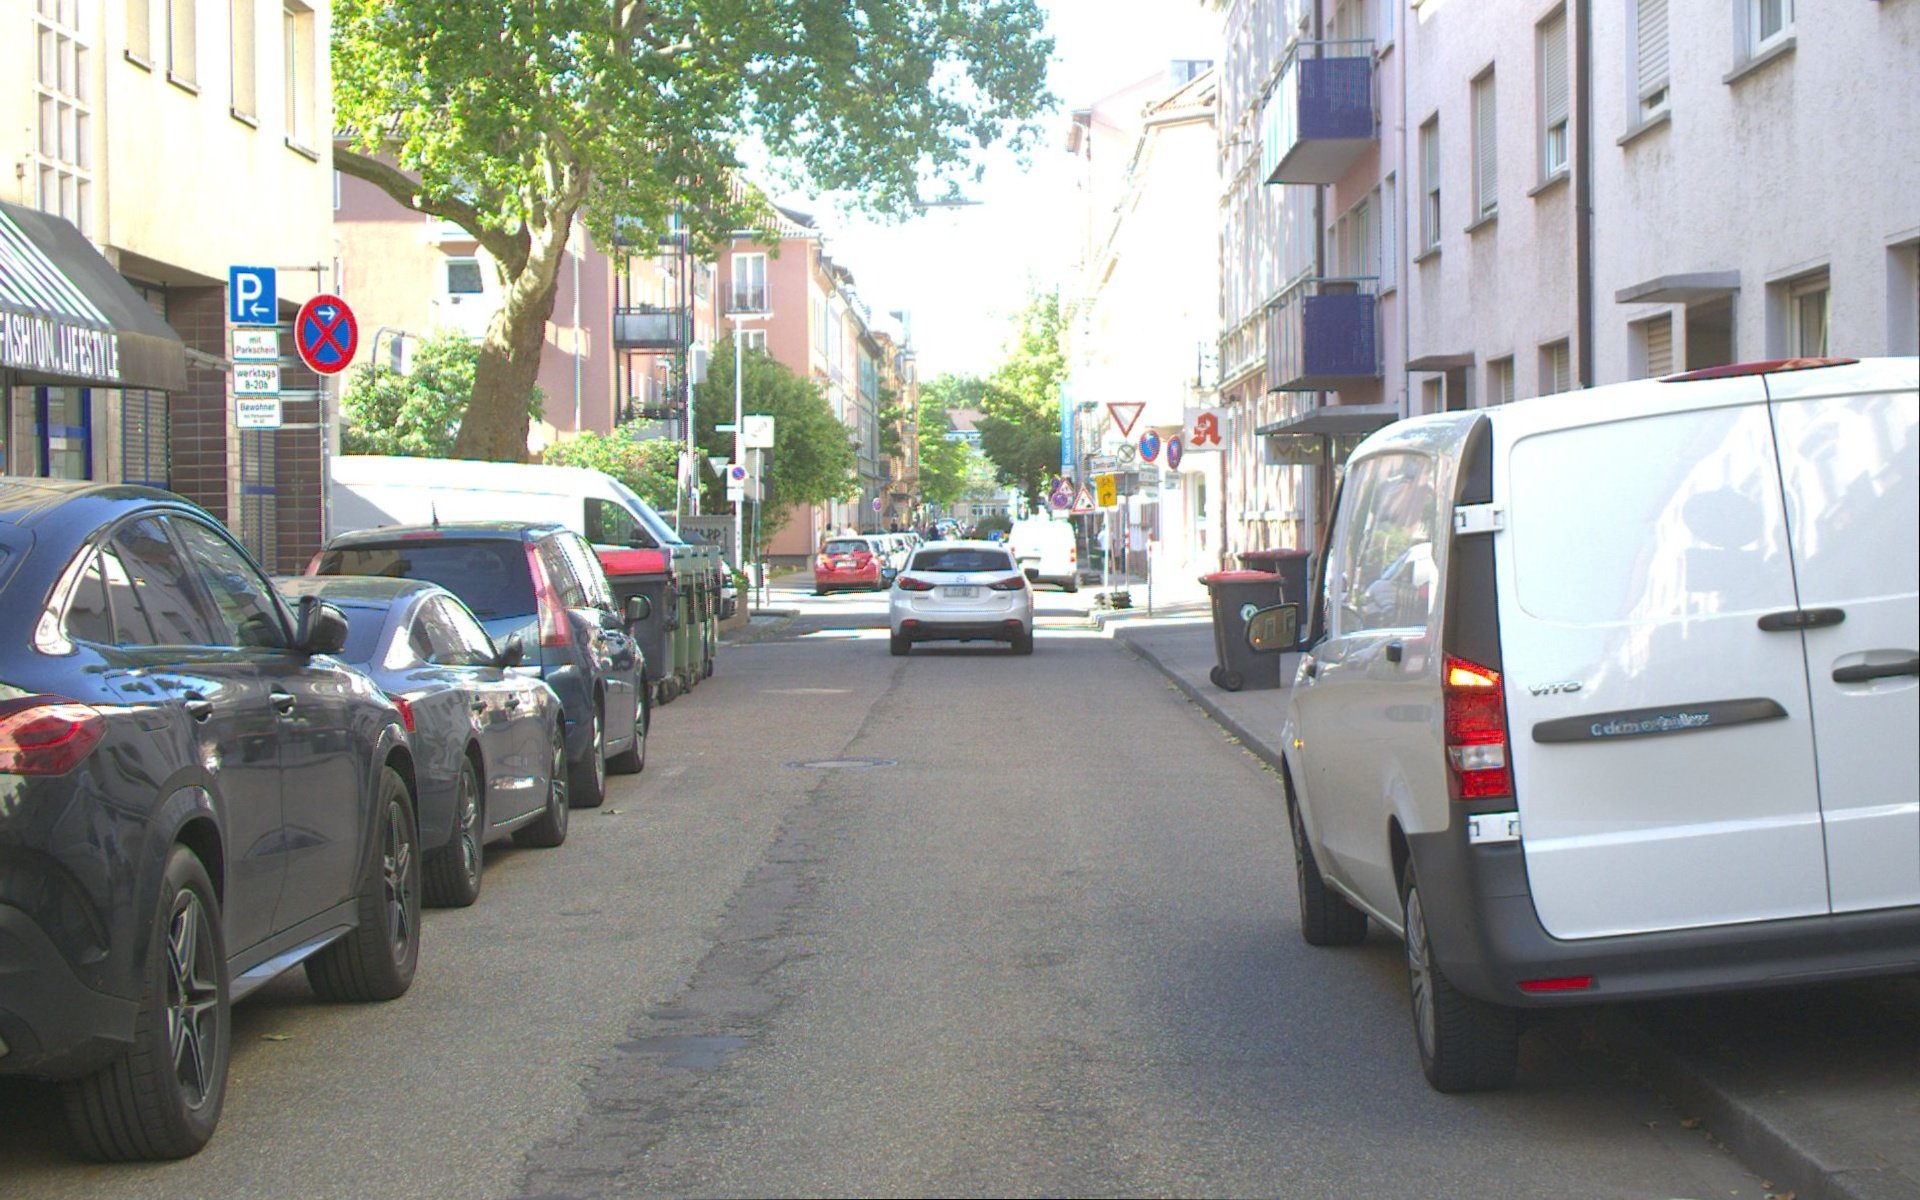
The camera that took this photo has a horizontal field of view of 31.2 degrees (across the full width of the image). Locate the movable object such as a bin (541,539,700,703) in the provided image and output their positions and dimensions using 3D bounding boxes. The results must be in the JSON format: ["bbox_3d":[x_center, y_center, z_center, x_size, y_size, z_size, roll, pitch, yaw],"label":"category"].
[{"bbox_3d":[-3.200,0.194,32.539,1.334,1.479,1.093,-2,0,1],"label":"movable object such as a bin"}]

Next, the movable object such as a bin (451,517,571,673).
[{"bbox_3d":[-4.819,-0.059,36.969,1.227,1.647,1.174,0,0,-5],"label":"movable object such as a bin"}]

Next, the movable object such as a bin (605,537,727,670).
[{"bbox_3d":[-3.229,0.034,37.878,1.300,1.446,1.117,0,0,-3],"label":"movable object such as a bin"}]

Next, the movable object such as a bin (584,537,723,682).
[{"bbox_3d":[-3.175,0.094,35.686,1.334,1.486,1.082,0,0,1],"label":"movable object such as a bin"}]

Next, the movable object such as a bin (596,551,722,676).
[{"bbox_3d":[-3.210,0.136,36.779,1.241,1.317,1.046,0,0,1],"label":"movable object such as a bin"}]

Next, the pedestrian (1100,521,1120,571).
[{"bbox_3d":[5.177,-1.871,118.760,0.617,1.727,0.560,-1,0,0],"label":"pedestrian"}]

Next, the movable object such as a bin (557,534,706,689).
[{"bbox_3d":[-3.198,0.106,33.582,1.348,1.482,1.003,0,0,1],"label":"movable object such as a bin"}]

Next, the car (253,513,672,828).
[{"bbox_3d":[-2.912,0.335,21.119,1.782,1.661,4.670,-2,1,1],"label":"car"}]

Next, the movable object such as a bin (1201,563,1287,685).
[{"bbox_3d":[2.566,0.211,31.112,0.732,1.077,0.703,-1,0,2],"label":"movable object such as a bin"}]

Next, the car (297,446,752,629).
[{"bbox_3d":[-6.793,-0.977,54.079,6.739,2.546,2.145,2,1,3],"label":"car"}]

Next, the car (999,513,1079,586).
[{"bbox_3d":[2.130,-1.395,93.888,1.942,1.941,4.079,0,1,-2],"label":"car"}]

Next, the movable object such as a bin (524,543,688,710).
[{"bbox_3d":[-3.216,0.230,31.365,1.319,1.445,1.187,-2,0,1],"label":"movable object such as a bin"}]

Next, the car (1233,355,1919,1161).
[{"bbox_3d":[2.145,0.293,11.165,1.983,1.877,5.600,-4,1,0],"label":"car"}]

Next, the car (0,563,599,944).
[{"bbox_3d":[-2.885,0.574,15.740,1.845,1.412,4.818,-2,1,1],"label":"car"}]

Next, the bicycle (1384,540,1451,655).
[{"bbox_3d":[4.715,-0.043,35.492,0.453,1.130,1.919,-3,1,2],"label":"bicycle"}]

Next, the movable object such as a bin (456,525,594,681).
[{"bbox_3d":[-4.506,0.027,35.696,1.288,1.599,1.082,0,0,1],"label":"movable object such as a bin"}]

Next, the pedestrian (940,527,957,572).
[{"bbox_3d":[-0.445,-2.009,136.896,0.647,1.791,0.639,-1,0,2],"label":"pedestrian"}]

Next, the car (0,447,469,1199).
[{"bbox_3d":[-2.805,0.510,9.936,1.936,1.730,5.142,-1,1,1],"label":"car"}]

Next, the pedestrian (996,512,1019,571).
[{"bbox_3d":[1.714,-2.089,123.887,0.771,2.111,0.834,-1,0,2],"label":"pedestrian"}]

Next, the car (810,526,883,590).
[{"bbox_3d":[-2.975,-1.122,90.775,1.770,1.583,3.726,-1,2,0],"label":"car"}]

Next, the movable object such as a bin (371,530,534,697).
[{"bbox_3d":[-4.620,0.116,31.395,1.296,1.493,1.179,0,0,1],"label":"movable object such as a bin"}]

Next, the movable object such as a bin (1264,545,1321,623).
[{"bbox_3d":[4.768,-0.238,49.303,0.729,1.100,0.693,-1,0,-1],"label":"movable object such as a bin"}]

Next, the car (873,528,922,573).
[{"bbox_3d":[-2.228,-1.760,122.982,1.572,1.580,3.611,-1,1,1],"label":"car"}]

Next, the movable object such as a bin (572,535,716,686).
[{"bbox_3d":[-3.168,0.098,34.618,1.343,1.493,1.018,0,0,1],"label":"movable object such as a bin"}]

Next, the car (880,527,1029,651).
[{"bbox_3d":[-0.068,-0.173,44.342,1.823,1.509,3.824,-1,1,0],"label":"car"}]

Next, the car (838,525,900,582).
[{"bbox_3d":[-2.670,-1.364,101.882,1.635,1.650,3.785,-1,1,1],"label":"car"}]

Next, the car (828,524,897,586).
[{"bbox_3d":[-2.726,-1.274,96.368,1.720,1.677,3.726,-1,1,1],"label":"car"}]

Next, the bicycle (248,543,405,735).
[{"bbox_3d":[-4.599,0.286,25.080,0.465,1.327,1.853,3,0,9],"label":"bicycle"}]

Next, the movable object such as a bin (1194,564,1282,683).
[{"bbox_3d":[2.566,0.211,31.825,0.768,1.083,0.693,-1,0,2],"label":"movable object such as a bin"}]

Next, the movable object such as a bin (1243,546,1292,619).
[{"bbox_3d":[4.582,-0.267,51.252,0.701,1.069,0.596,-1,0,3],"label":"movable object such as a bin"}]
